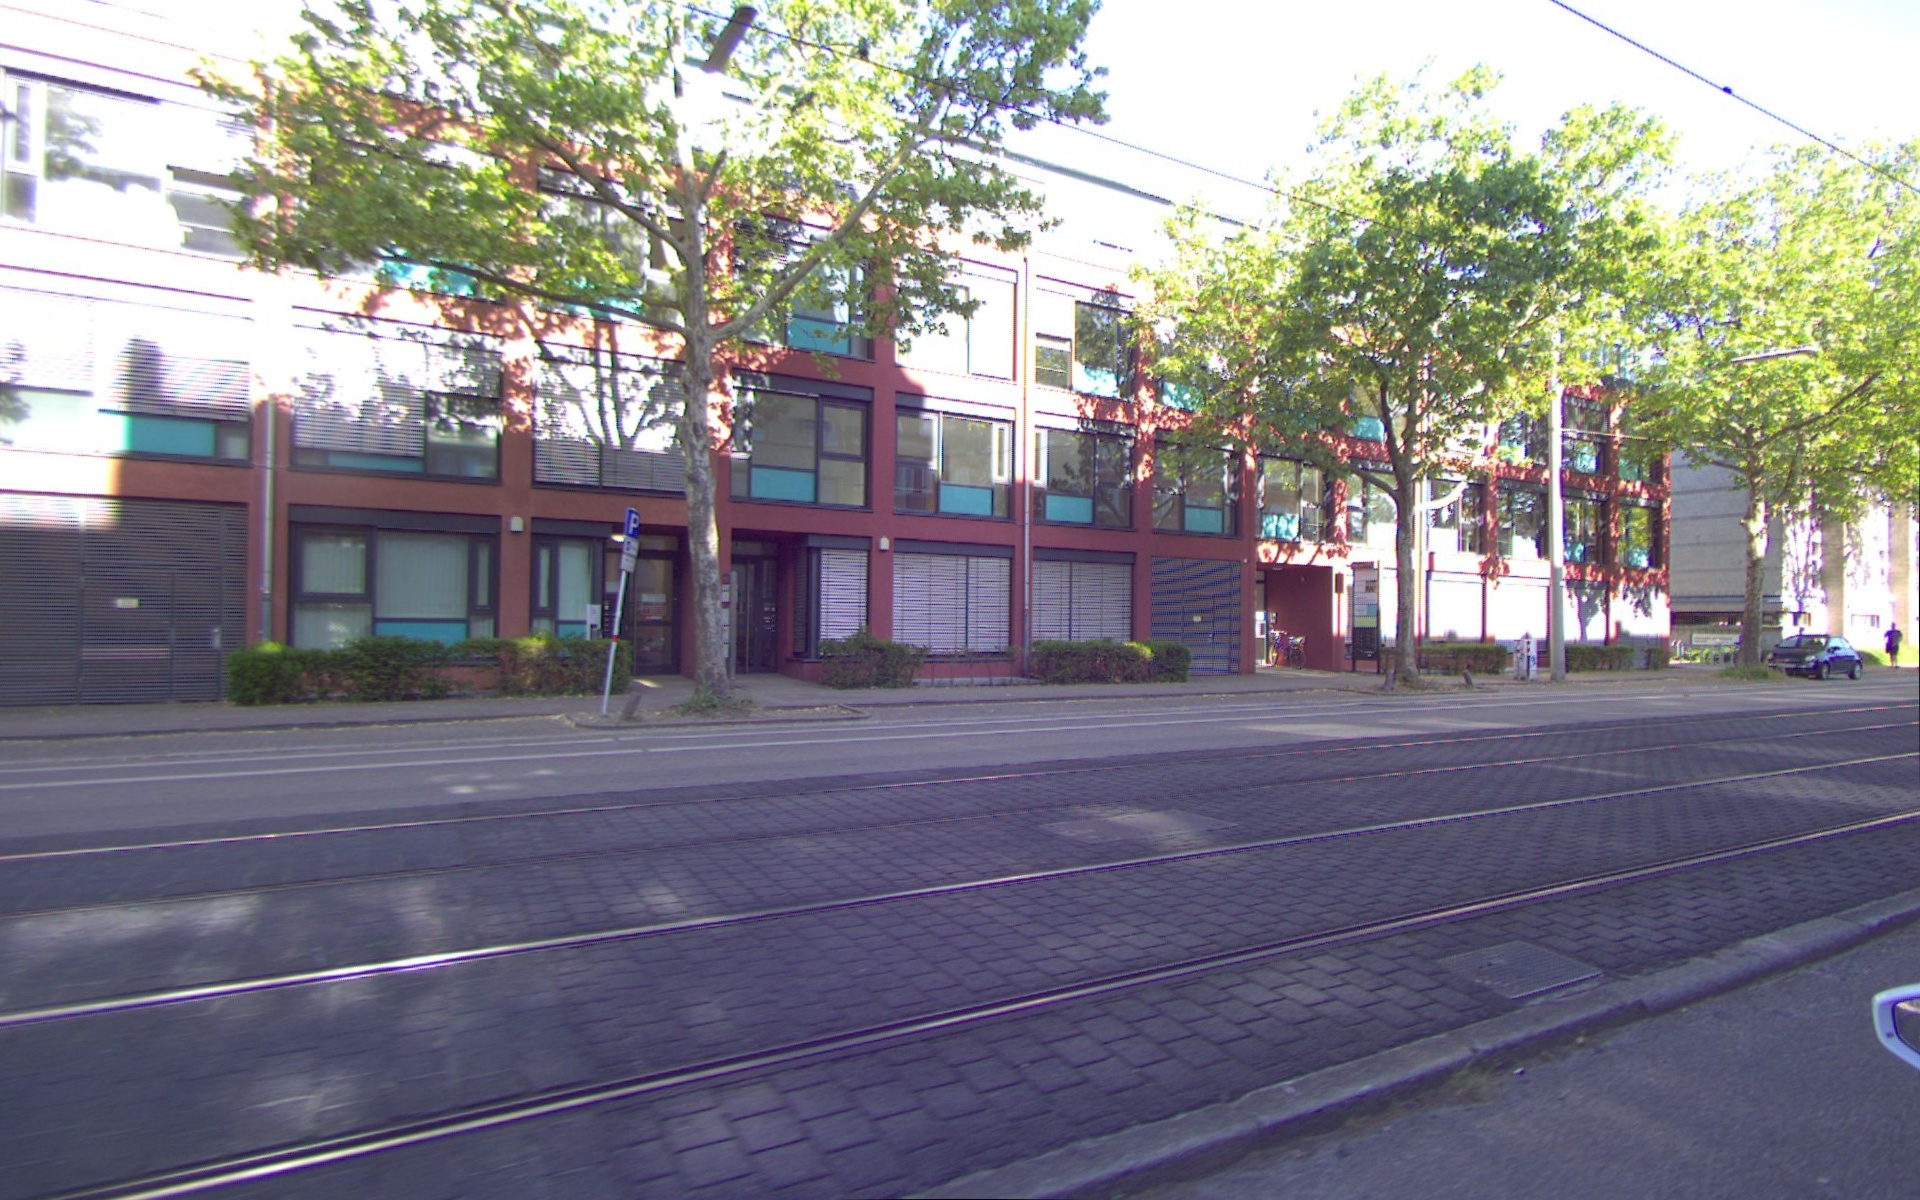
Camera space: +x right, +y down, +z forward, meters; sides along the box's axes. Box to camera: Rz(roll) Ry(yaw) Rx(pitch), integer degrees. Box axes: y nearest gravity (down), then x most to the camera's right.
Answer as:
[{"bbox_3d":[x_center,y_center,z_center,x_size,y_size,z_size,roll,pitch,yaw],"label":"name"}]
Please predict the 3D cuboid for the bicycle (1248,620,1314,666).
[{"bbox_3d":[9.664,1.268,30.309,0.610,1.289,2.054,1,1,-27],"label":"bicycle"}]

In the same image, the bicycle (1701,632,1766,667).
[{"bbox_3d":[31.576,2.002,41.053,0.656,1.295,1.999,1,1,-29],"label":"bicycle"}]

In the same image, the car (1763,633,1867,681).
[{"bbox_3d":[28.542,1.892,33.526,3.421,1.473,1.501,2,-1,-29],"label":"car"}]

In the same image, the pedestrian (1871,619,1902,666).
[{"bbox_3d":[38.392,1.755,41.627,0.774,1.895,0.669,2,1,33],"label":"pedestrian"}]
